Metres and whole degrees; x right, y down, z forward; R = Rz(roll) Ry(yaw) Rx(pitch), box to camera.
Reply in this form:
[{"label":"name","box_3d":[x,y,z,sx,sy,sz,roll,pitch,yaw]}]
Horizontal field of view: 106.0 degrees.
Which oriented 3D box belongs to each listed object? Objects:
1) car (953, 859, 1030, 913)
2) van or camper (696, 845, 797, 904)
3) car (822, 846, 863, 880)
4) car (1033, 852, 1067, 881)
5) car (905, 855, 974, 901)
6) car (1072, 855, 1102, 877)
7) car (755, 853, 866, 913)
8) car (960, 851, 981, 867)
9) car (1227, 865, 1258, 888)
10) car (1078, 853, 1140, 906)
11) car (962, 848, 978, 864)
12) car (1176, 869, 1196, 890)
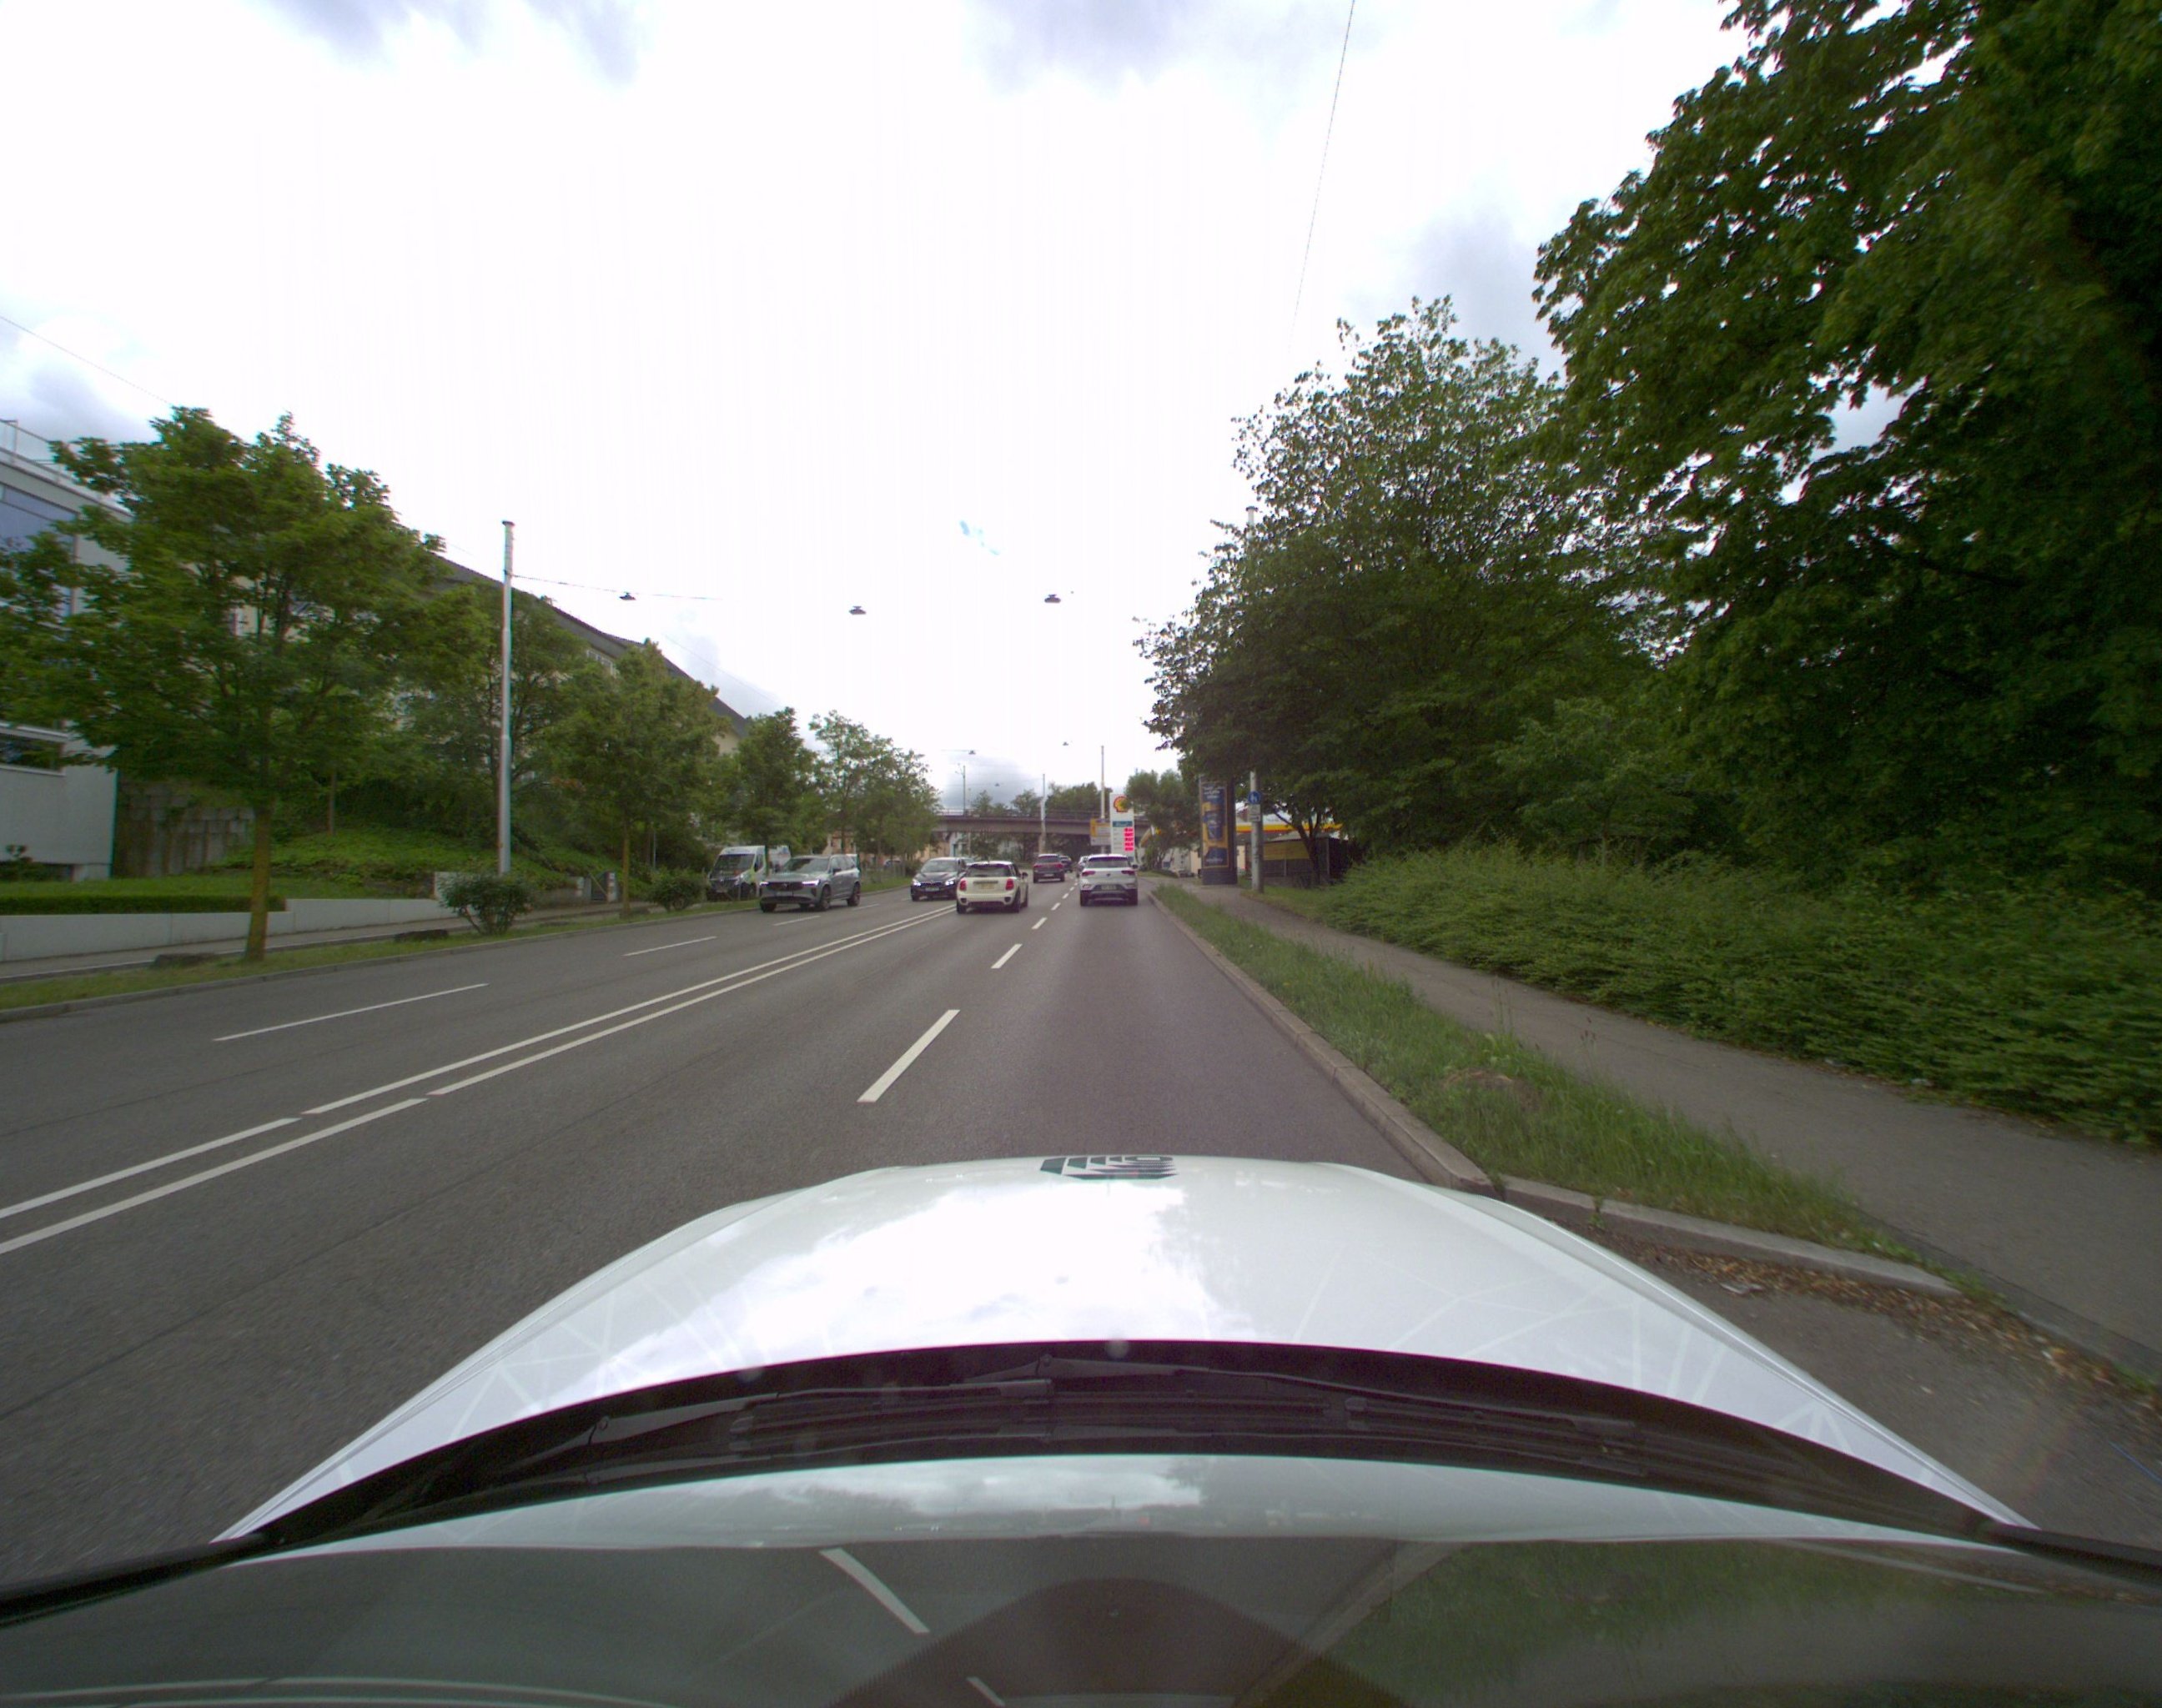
[{"label":"car","box_3d":[-2.478,0.867,23.314,1.716,1.376,3.458,-1,0,2]},{"label":"van or camper","box_3d":[-15.380,0.868,37.823,1.985,2.473,5.715,-2,0,3]},{"label":"car","box_3d":[-17.513,0.620,60.048,2.268,2.273,6.303,-2,0,-11]},{"label":"car","box_3d":[-1.764,0.701,47.511,1.716,1.640,3.458,-1,0,2]},{"label":"car","box_3d":[-5.397,0.862,31.629,1.757,1.592,4.368,-1,0,2]},{"label":"car","box_3d":[0.388,0.767,54.318,1.673,1.409,3.450,-1,0,-5]},{"label":"car","box_3d":[-8.487,0.840,26.025,1.757,1.708,4.872,-1,0,2]},{"label":"car","box_3d":[-11.366,0.538,83.913,1.782,1.538,4.070,-2,0,-4]},{"label":"car","box_3d":[11.994,1.701,60.739,1.728,1.486,3.880,-2,-3,4]},{"label":"car","box_3d":[0.876,0.736,25.588,1.790,1.519,3.458,-1,0,2]},{"label":"car","box_3d":[-13.565,0.204,99.610,1.897,1.937,3.988,-1,0,-9]},{"label":"car","box_3d":[10.936,2.699,85.057,1.728,2.011,4.716,-2,-3,4]}]
